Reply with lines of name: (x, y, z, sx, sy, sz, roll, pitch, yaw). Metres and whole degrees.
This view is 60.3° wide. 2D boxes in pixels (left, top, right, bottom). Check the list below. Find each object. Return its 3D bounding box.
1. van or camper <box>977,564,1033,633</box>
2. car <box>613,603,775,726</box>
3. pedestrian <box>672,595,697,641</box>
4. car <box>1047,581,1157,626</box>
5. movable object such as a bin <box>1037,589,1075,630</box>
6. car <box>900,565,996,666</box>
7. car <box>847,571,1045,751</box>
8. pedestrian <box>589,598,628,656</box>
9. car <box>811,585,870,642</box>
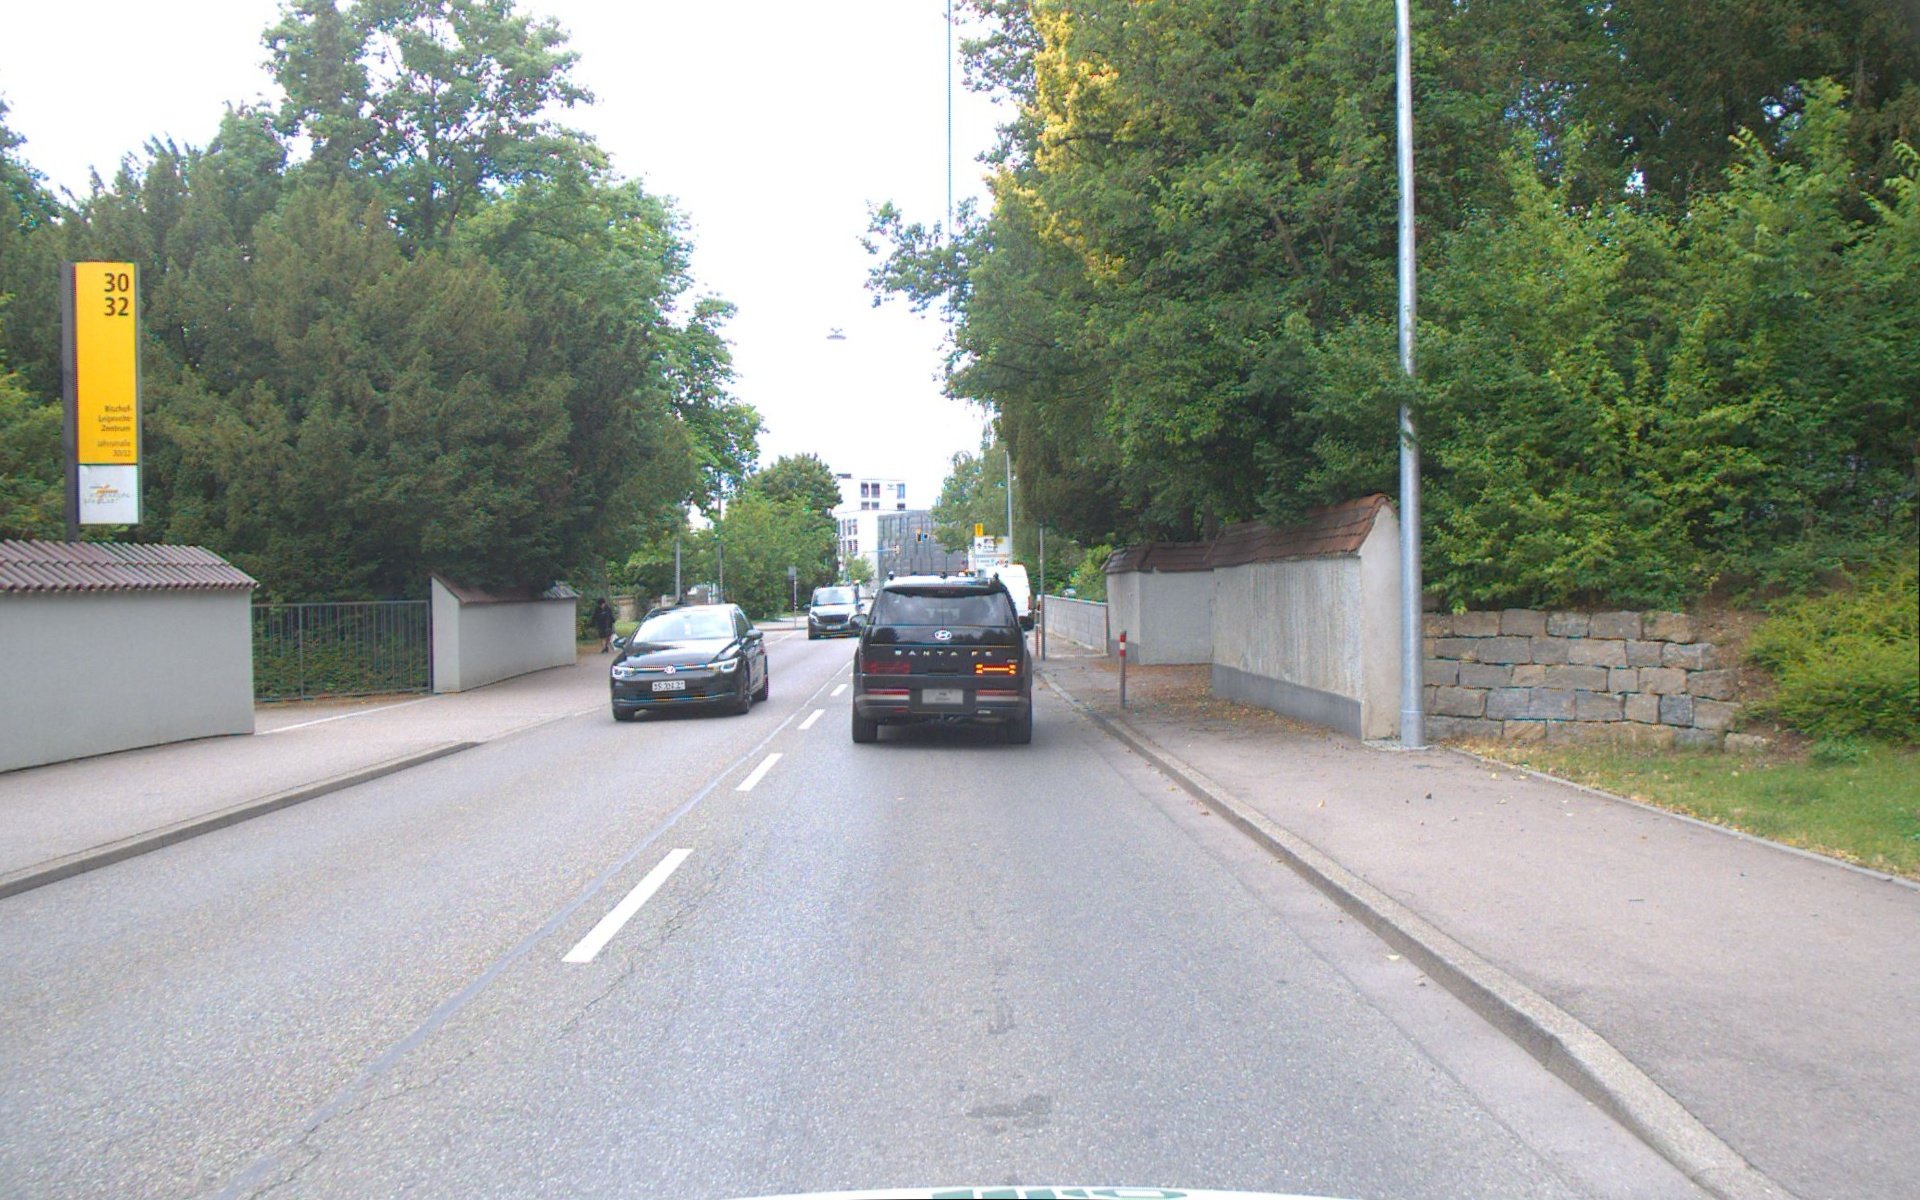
van or camper: (1.844, -0.084, 69.830, 1.924, 2.673, 6.357, -3, 0, -2)
car: (-3.554, 0.809, 22.694, 1.750, 1.453, 3.997, -2, 0, -3)
pedestrian: (-9.888, 0.644, 59.384, 0.733, 1.605, 0.966, 1, 0, -1)
car: (5.733, 0.138, 67.154, 4.304, 1.681, 1.830, -1, 0, 0)
movable object such as a bin: (3.541, 0.345, 60.993, 1.273, 1.476, 1.180, -2, 0, -1)
car: (-0.290, 0.305, 35.213, 1.924, 2.036, 3.999, 0, 0, -2)
car: (-0.156, 0.586, 18.147, 1.923, 1.741, 3.999, 1, 0, -1)
pedestrian: (-9.777, 0.750, 46.011, 0.907, 1.588, 0.901, 2, -1, -5)
car: (-4.371, 0.481, 61.142, 1.853, 1.887, 5.081, -4, 0, -2)
